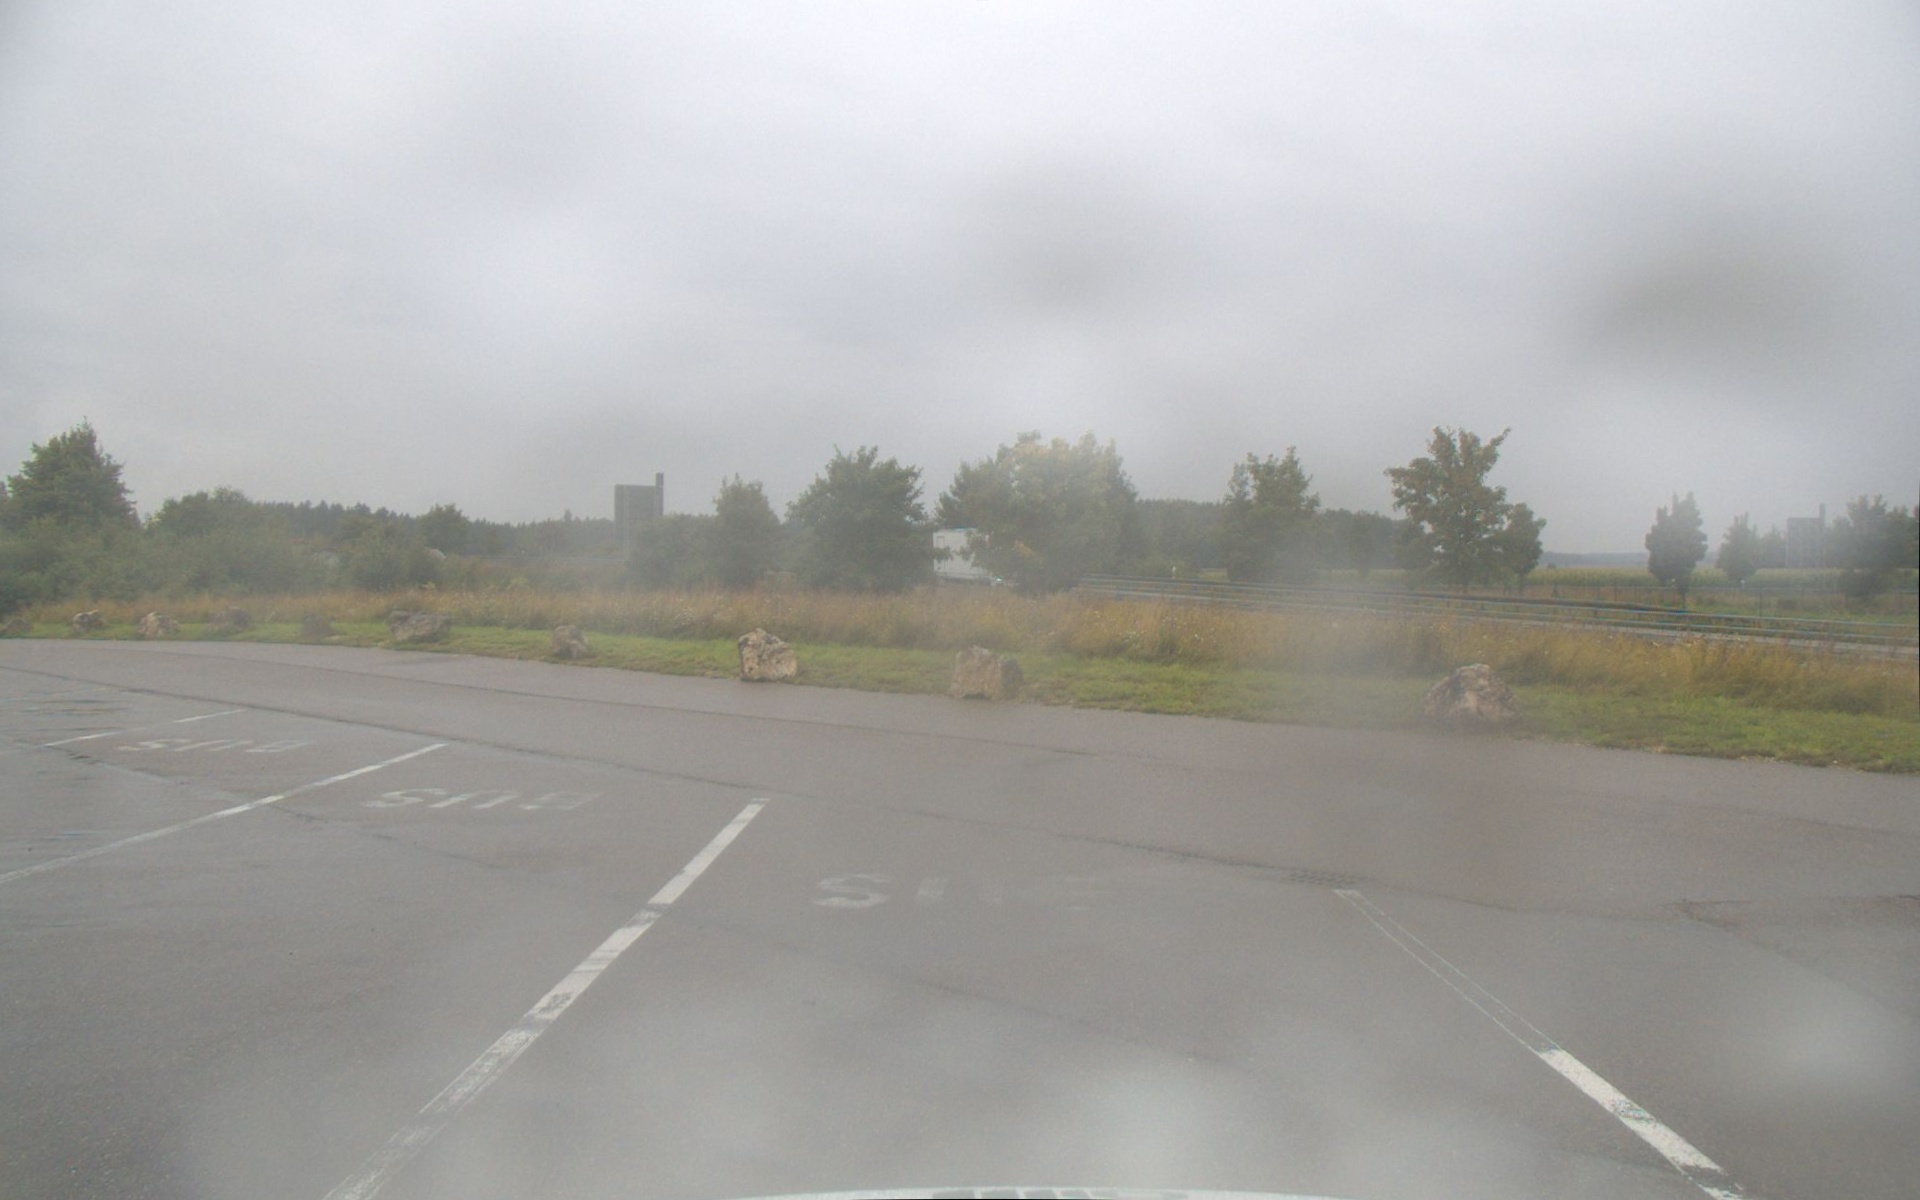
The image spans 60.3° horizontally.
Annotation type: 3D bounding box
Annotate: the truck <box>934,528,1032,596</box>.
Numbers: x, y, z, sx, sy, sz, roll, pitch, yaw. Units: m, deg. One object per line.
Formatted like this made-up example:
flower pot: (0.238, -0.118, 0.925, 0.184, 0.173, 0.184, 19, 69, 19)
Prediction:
truck: (1.141, -2.024, 88.802, 2.698, 3.450, 8.023, 1, 1, -19)
